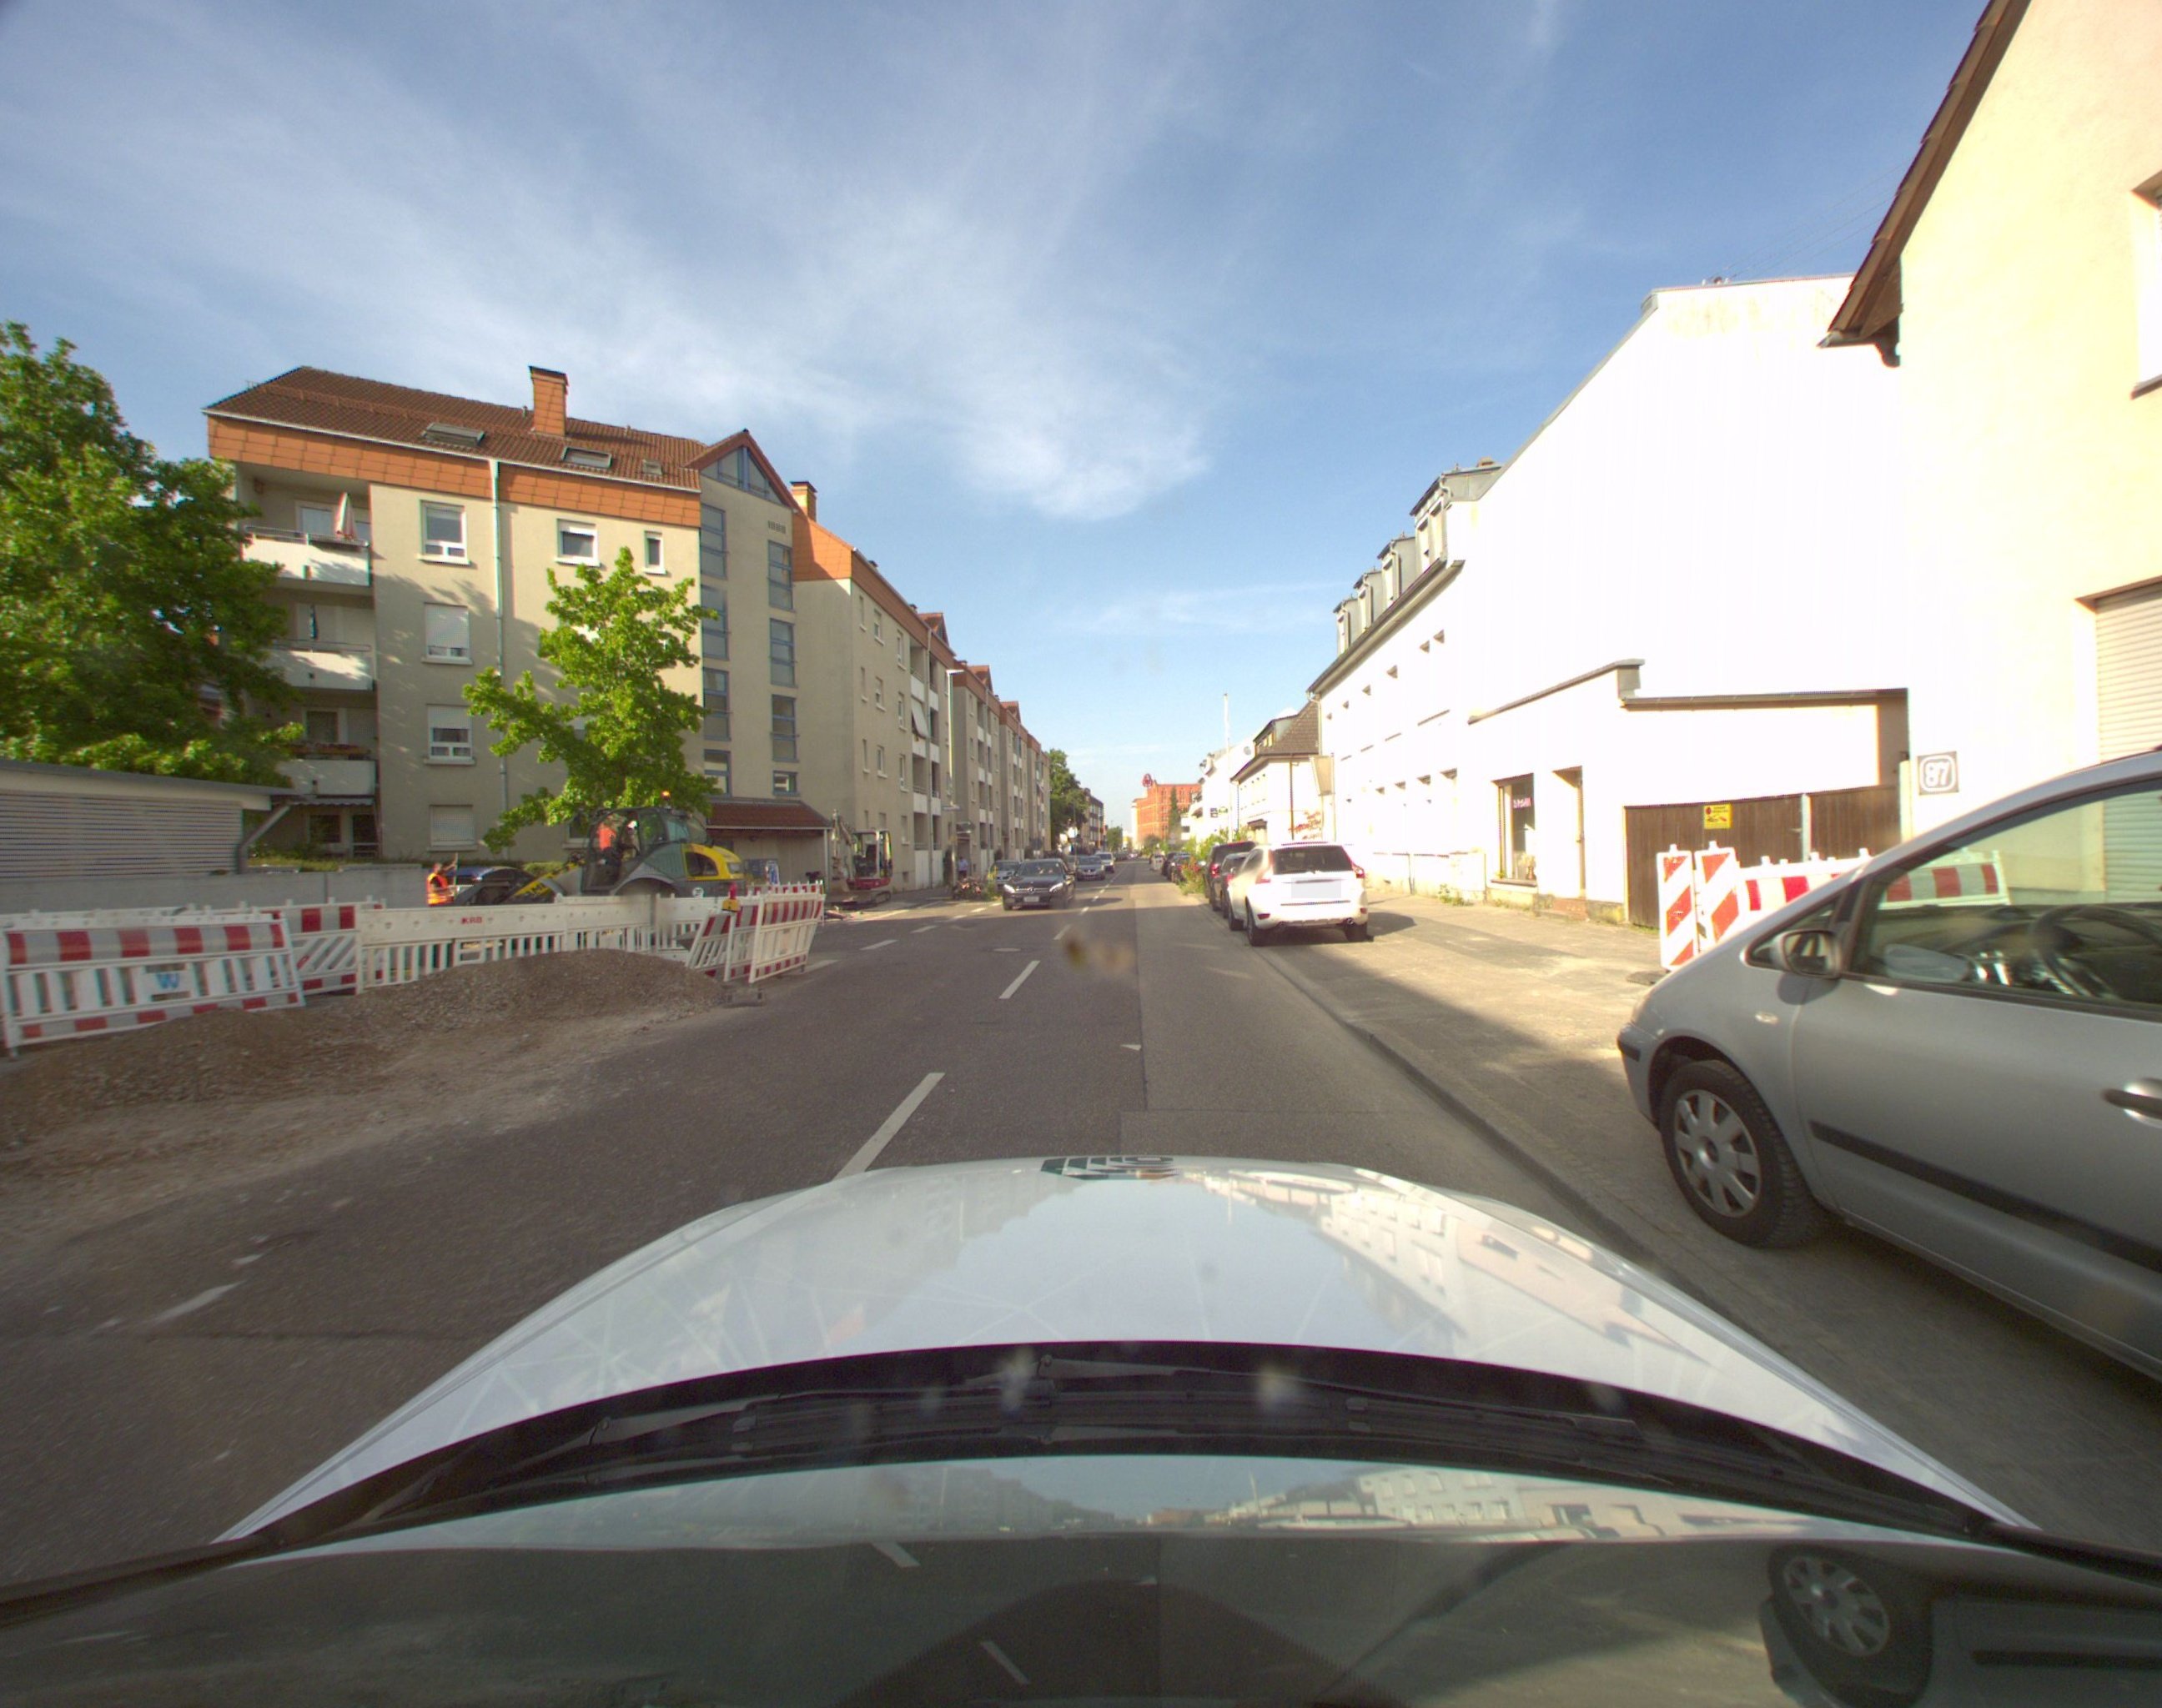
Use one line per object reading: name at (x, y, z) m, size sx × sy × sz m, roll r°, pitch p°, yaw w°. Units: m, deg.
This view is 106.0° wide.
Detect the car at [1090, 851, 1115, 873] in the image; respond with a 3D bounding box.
car at (1.857, 0.655, 69.472) m, size 1.914 × 1.767 × 4.341 m, roll -2°, pitch 0°, yaw 3°

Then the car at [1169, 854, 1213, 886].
car at (5.420, 0.753, 40.557) m, size 1.772 × 1.420 × 4.500 m, roll -1°, pitch 0°, yaw 3°

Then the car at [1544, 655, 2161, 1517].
car at (3.038, 0.435, 1.606) m, size 1.771 × 1.741 × 4.486 m, roll -3°, pitch 0°, yaw 2°

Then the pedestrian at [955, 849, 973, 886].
pedestrian at (-5.920, 0.675, 41.235) m, size 0.715 × 1.818 × 0.746 m, roll -1°, pitch 0°, yaw 4°

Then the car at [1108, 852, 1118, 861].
car at (6.710, 0.518, 170.834) m, size 1.984 × 1.882 × 4.005 m, roll -1°, pitch 0°, yaw 4°

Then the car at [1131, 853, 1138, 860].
car at (14.496, 0.693, 219.381) m, size 1.756 × 1.616 × 4.004 m, roll -2°, pitch 0°, yaw 4°

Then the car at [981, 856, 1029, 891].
car at (-3.343, 0.844, 36.387) m, size 1.634 × 1.395 × 3.674 m, roll -2°, pitch 0°, yaw 2°

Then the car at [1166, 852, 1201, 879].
car at (6.424, 0.699, 51.248) m, size 1.822 × 1.560 × 4.320 m, roll -2°, pitch 0°, yaw 3°

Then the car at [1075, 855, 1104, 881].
car at (0.551, 0.846, 49.742) m, size 1.611 × 1.455 × 3.688 m, roll -2°, pitch 0°, yaw 3°

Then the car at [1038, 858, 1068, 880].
car at (-1.875, 0.972, 55.069) m, size 1.679 × 1.405 × 4.087 m, roll -1°, pitch 0°, yaw 3°

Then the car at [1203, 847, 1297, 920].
car at (4.068, 0.671, 20.253) m, size 1.582 × 1.528 × 4.618 m, roll -3°, pitch -1°, yaw 4°

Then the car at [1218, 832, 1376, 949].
car at (3.609, 0.529, 14.422) m, size 1.804 × 1.683 × 4.481 m, roll -2°, pitch 0°, yaw 3°

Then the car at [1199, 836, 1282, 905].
car at (4.868, 0.451, 25.461) m, size 2.065 × 1.856 × 4.618 m, roll -3°, pitch 0°, yaw 6°

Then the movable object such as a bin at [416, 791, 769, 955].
movable object such as a bin at (-9.239, 0.291, 15.985) m, size 5.500 × 2.900 × 2.104 m, roll -1°, pitch 0°, yaw -12°

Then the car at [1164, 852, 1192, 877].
car at (6.704, 0.767, 56.546) m, size 1.821 × 1.630 × 4.469 m, roll 1°, pitch -2°, yaw 5°

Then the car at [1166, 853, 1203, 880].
car at (5.775, 0.662, 45.804) m, size 1.821 × 1.420 × 4.614 m, roll -1°, pitch 0°, yaw 4°

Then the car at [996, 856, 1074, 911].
car at (-1.273, 0.823, 24.331) m, size 1.822 × 1.420 × 4.212 m, roll -2°, pitch 0°, yaw 3°

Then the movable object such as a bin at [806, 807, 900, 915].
movable object such as a bin at (-7.182, 0.193, 26.046) m, size 1.641 × 3.138 × 3.903 m, roll -2°, pitch 0°, yaw 2°

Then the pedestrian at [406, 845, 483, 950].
pedestrian at (-12.585, 0.832, 16.118) m, size 0.759 × 2.018 × 0.897 m, roll -1°, pitch 0°, yaw 16°
